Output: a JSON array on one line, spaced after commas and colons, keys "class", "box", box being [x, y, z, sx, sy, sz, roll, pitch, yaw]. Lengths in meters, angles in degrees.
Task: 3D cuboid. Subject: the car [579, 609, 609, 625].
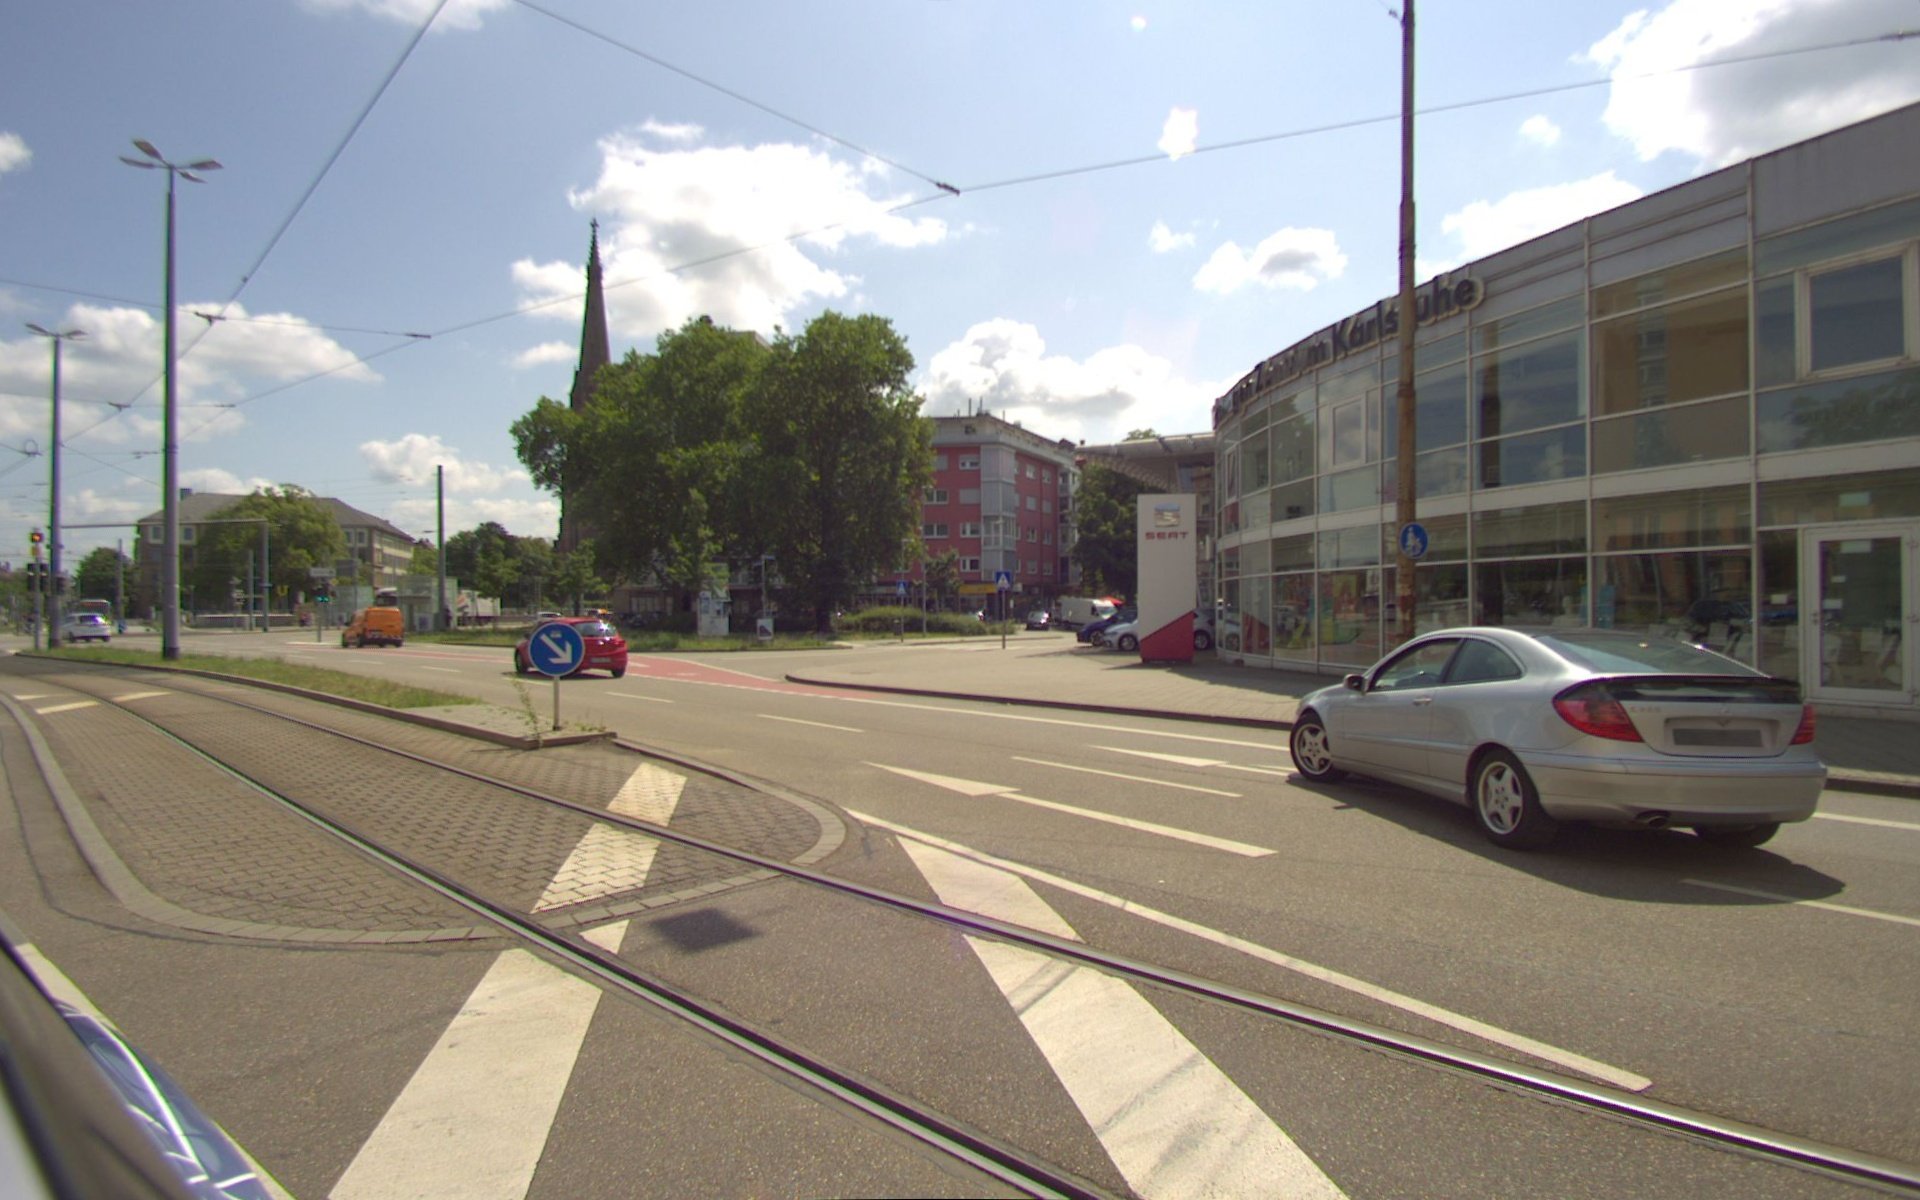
[{"class": "car", "box": [-41.730, 1.907, 115.525, 1.748, 1.779, 4.237, -1, 0, 3]}]

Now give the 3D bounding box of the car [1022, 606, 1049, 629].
[{"class": "car", "box": [5.971, 1.362, 79.537, 1.975, 1.719, 3.993, 0, -1, 6]}]

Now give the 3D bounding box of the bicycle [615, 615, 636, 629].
[{"class": "bicycle", "box": [-27.991, 1.849, 84.764, 1.583, 1.176, 0.492, -1, -1, 8]}]

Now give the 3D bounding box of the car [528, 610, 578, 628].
[{"class": "car", "box": [-38.546, 1.799, 95.847, 4.103, 1.655, 1.634, 0, -1, -34]}]

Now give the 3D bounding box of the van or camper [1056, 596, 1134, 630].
[{"class": "van or camper", "box": [10.405, 1.022, 78.662, 2.535, 2.518, 6.703, 0, -1, -29]}]

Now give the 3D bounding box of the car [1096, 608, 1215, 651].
[{"class": "car", "box": [6.916, 1.032, 36.111, 3.894, 1.458, 1.833, -1, -1, 3]}]

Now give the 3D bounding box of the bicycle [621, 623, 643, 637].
[{"class": "bicycle", "box": [-26.357, 2.415, 81.364, 1.583, 1.074, 0.492, -1, -1, 8]}]

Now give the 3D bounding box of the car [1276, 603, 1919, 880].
[{"class": "car", "box": [4.075, 0.770, 7.470, 1.792, 1.431, 4.193, 0, -1, -6]}]

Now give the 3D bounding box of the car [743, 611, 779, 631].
[{"class": "car", "box": [-16.186, 1.714, 82.409, 1.856, 1.522, 3.924, -1, -1, 5]}]

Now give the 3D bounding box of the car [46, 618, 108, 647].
[{"class": "car", "box": [-51.256, 1.874, 58.727, 4.484, 1.616, 1.750, -1, -2, 36]}]

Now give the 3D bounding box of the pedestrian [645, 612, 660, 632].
[{"class": "pedestrian", "box": [-23.961, 1.720, 78.974, 0.872, 1.572, 0.720, -1, -1, 16]}]

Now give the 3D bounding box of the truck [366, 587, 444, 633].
[{"class": "truck", "box": [-51.926, 0.915, 94.864, 2.929, 4.150, 6.862, -1, -1, 7]}]

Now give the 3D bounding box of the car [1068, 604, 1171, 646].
[{"class": "car", "box": [6.220, 0.988, 39.287, 3.753, 1.485, 1.652, -2, -2, 15]}]

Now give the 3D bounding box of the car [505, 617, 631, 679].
[{"class": "car", "box": [-9.947, 1.187, 25.540, 1.681, 1.439, 3.907, 3, -3, -42]}]

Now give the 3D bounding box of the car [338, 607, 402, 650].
[{"class": "car", "box": [-27.373, 1.329, 46.910, 1.886, 1.880, 4.375, 2, -2, -39]}]

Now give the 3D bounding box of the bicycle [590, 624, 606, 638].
[{"class": "bicycle", "box": [-31.750, 2.738, 88.792, 1.257, 1.154, 0.458, -1, -1, 4]}]

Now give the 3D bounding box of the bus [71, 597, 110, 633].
[{"class": "bus", "box": [-87.565, 1.510, 101.954, 2.906, 3.474, 7.959, 0, -1, -40]}]

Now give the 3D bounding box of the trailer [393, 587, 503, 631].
[{"class": "trailer", "box": [-51.080, 0.954, 101.673, 2.914, 4.107, 13.389, -1, -1, 7]}]

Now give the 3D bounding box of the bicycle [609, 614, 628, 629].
[{"class": "bicycle", "box": [-29.841, 1.889, 88.420, 1.583, 1.274, 0.492, -1, -1, 8]}]
